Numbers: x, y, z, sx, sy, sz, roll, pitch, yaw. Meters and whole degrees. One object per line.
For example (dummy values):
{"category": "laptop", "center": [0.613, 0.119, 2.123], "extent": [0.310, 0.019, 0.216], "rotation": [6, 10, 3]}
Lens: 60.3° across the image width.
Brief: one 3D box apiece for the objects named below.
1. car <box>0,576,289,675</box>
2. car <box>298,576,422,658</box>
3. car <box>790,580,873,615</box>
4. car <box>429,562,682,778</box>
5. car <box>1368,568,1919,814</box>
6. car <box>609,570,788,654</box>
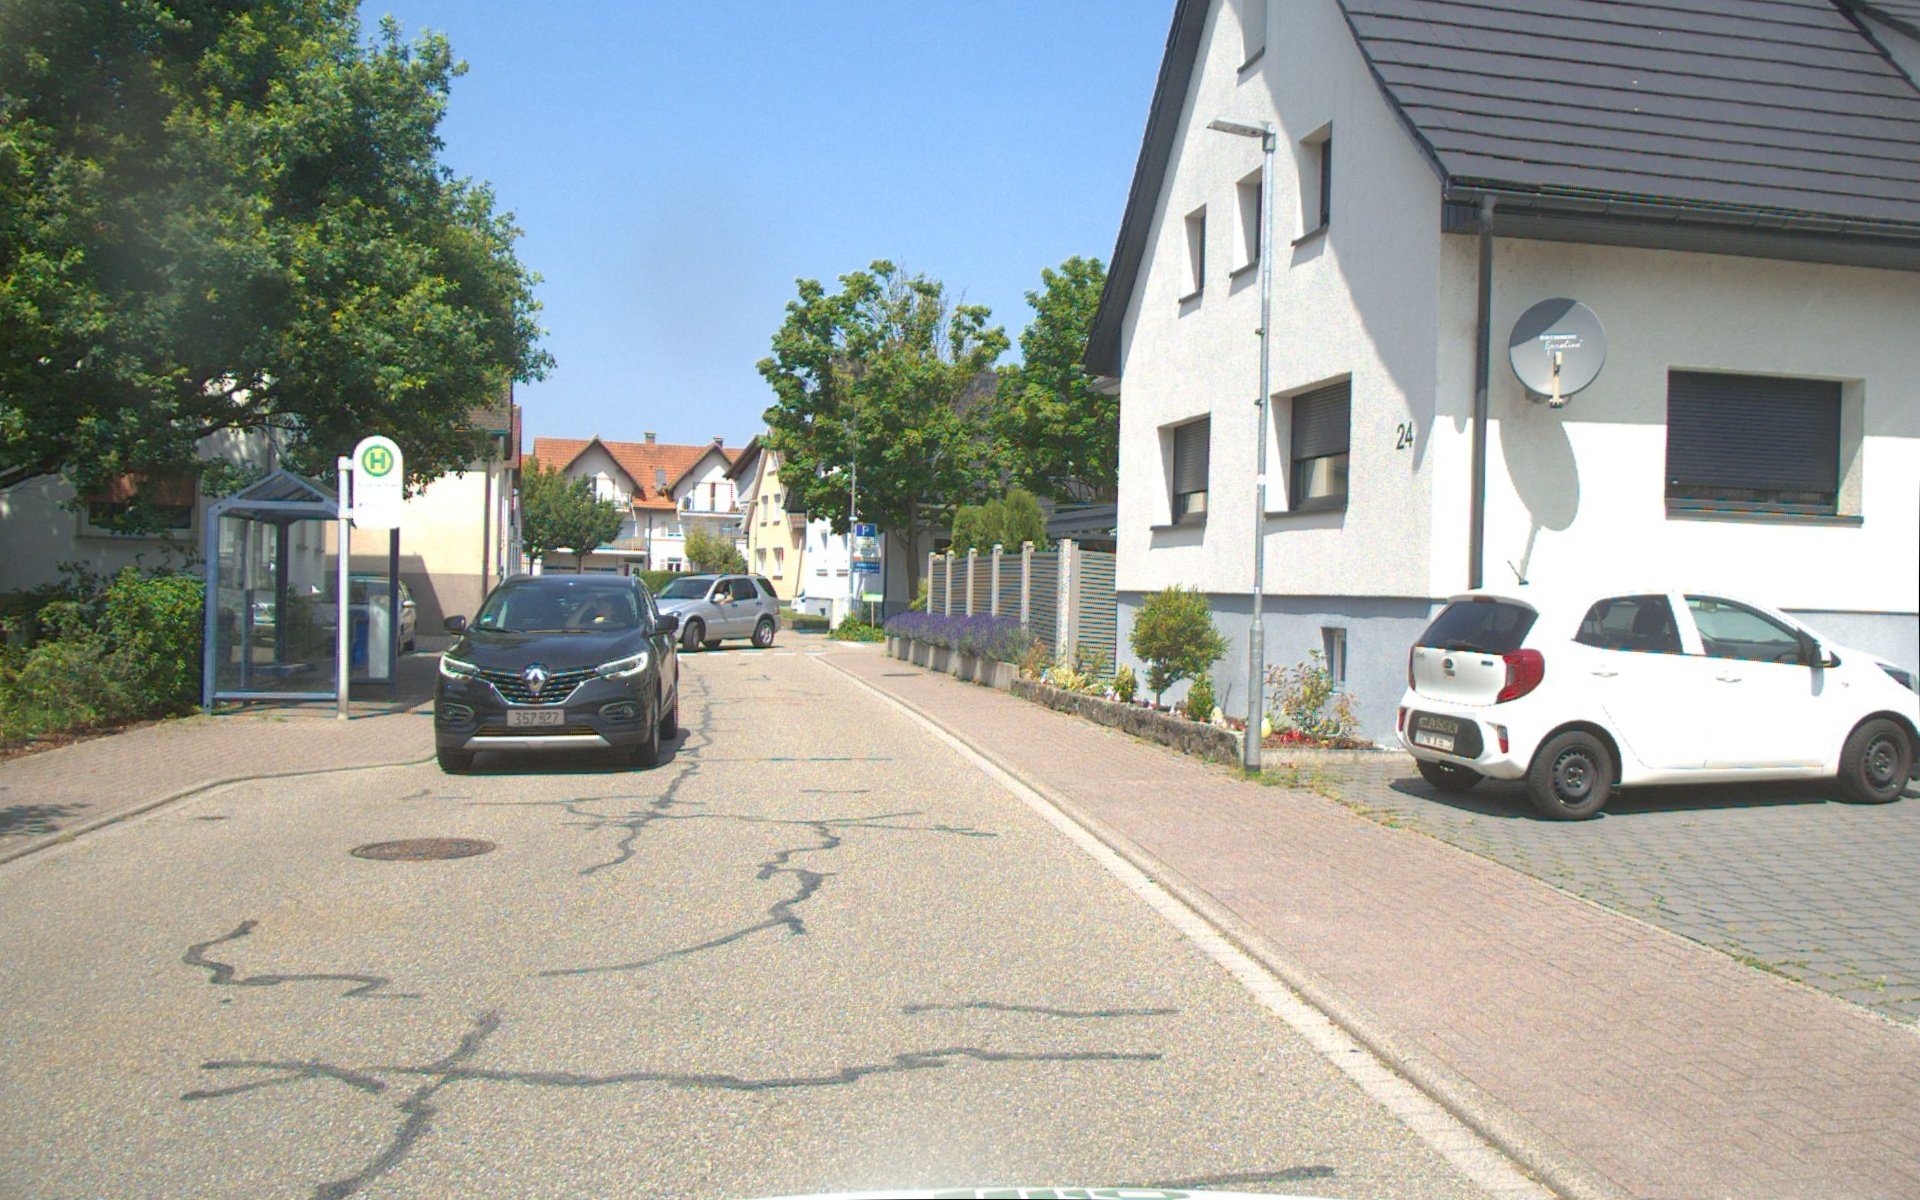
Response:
{"category": "car", "center": [-13.813, 0.396, 28.202], "extent": [4.086, 1.565, 1.768], "rotation": [-1, 1, -12]}
{"category": "car", "center": [-11.656, 0.293, 32.367], "extent": [1.748, 1.460, 4.042], "rotation": [1, 0, -13]}
{"category": "car", "center": [-5.036, -0.082, 64.721], "extent": [3.000, 1.369, 1.413], "rotation": [0, -1, -22]}
{"category": "car", "center": [-3.452, 0.526, 14.786], "extent": [1.742, 1.652, 4.098], "rotation": [0, 0, -8]}
{"category": "car", "center": [4.893, 0.543, 11.561], "extent": [3.595, 1.500, 1.759], "rotation": [-1, 1, -14]}
{"category": "car", "center": [-6.091, 0.232, 39.054], "extent": [1.850, 1.797, 4.323], "rotation": [0, 2, 30]}
